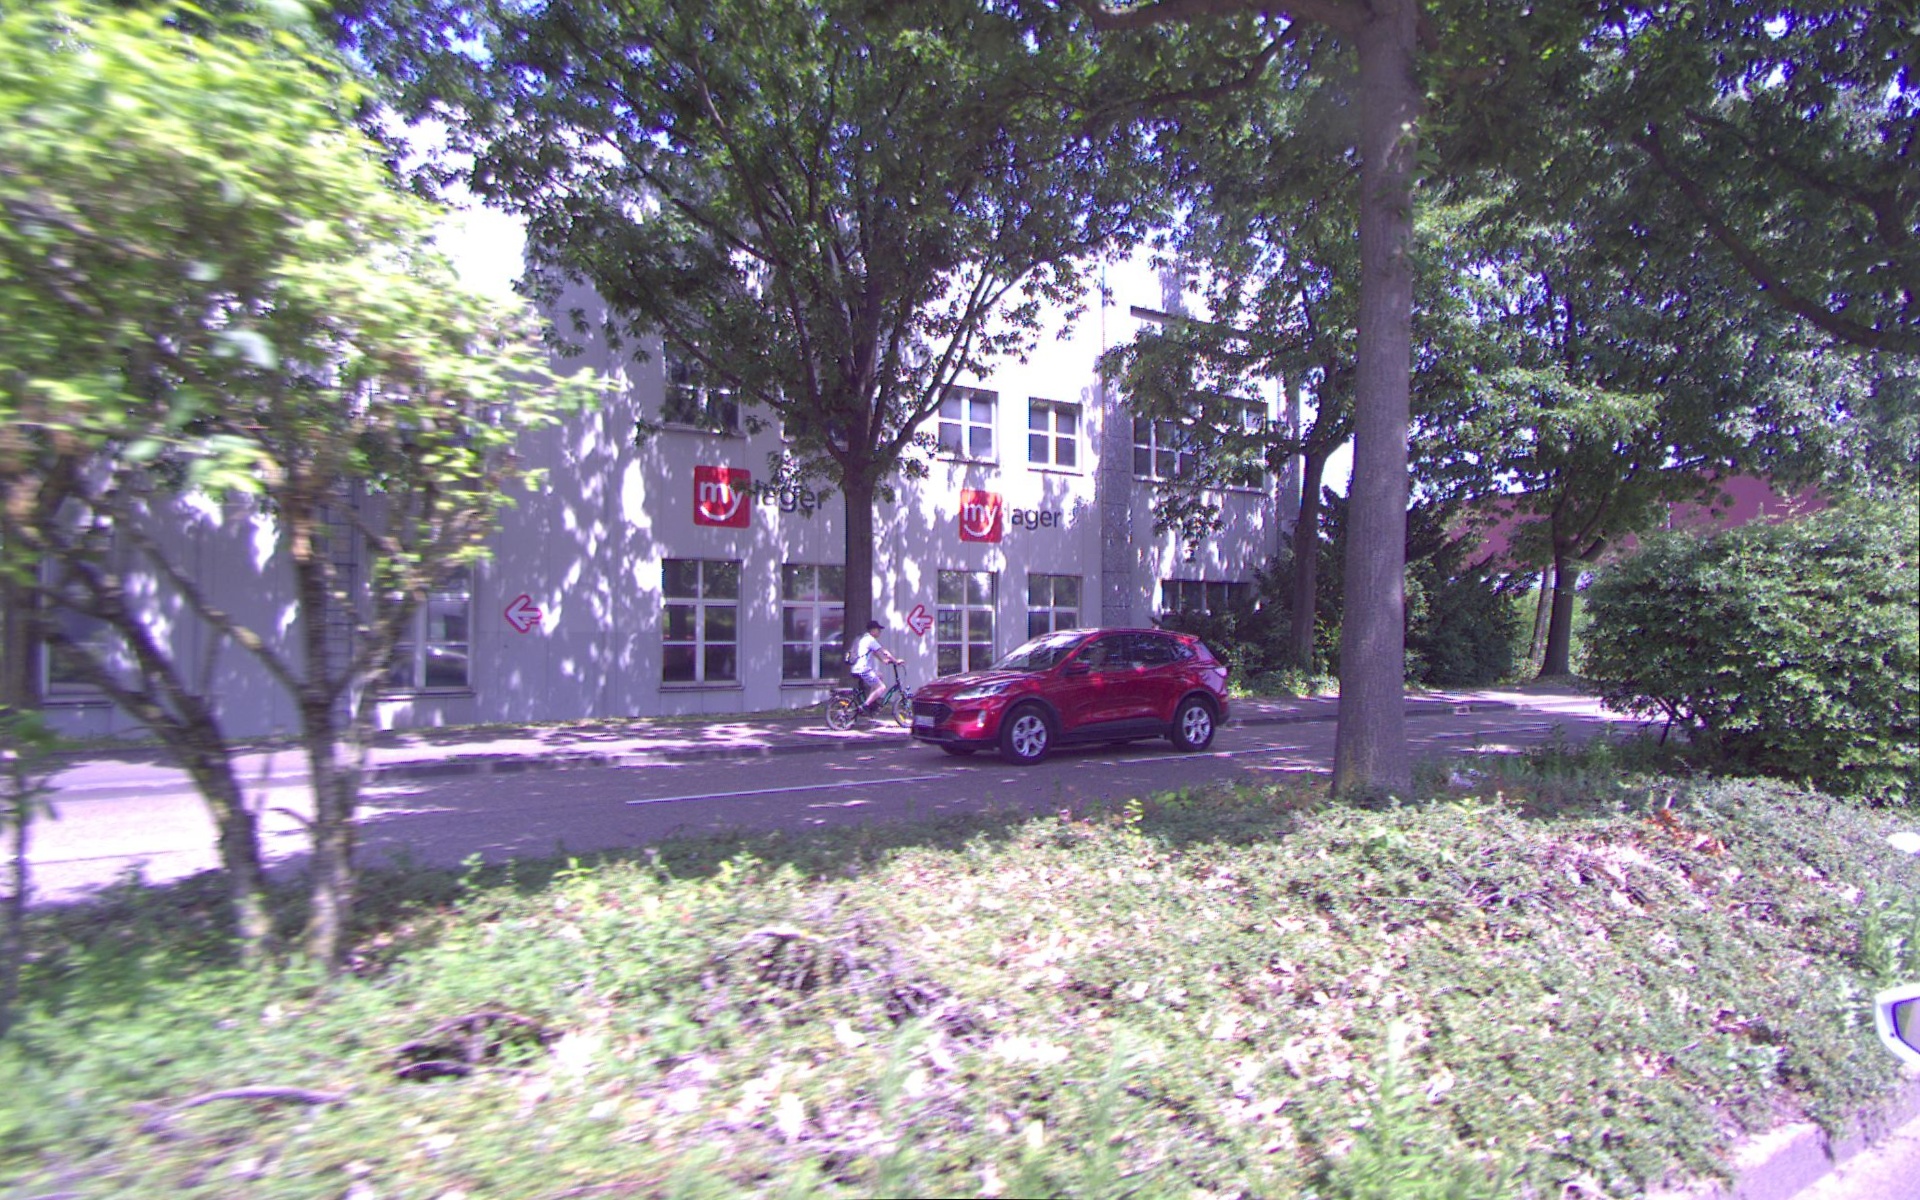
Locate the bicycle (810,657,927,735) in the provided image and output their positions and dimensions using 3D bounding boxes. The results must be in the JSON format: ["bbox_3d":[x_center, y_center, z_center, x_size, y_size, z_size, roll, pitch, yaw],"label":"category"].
[{"bbox_3d":[-1.409,1.463,15.598,1.741,1.134,0.519,2,-1,-31],"label":"bicycle"}]

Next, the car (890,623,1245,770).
[{"bbox_3d":[1.477,1.166,13.280,4.466,1.657,1.813,1,-3,-30],"label":"car"}]

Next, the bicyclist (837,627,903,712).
[{"bbox_3d":[-1.398,1.066,15.625,0.803,1.269,0.641,2,-1,-30],"label":"bicyclist"}]
